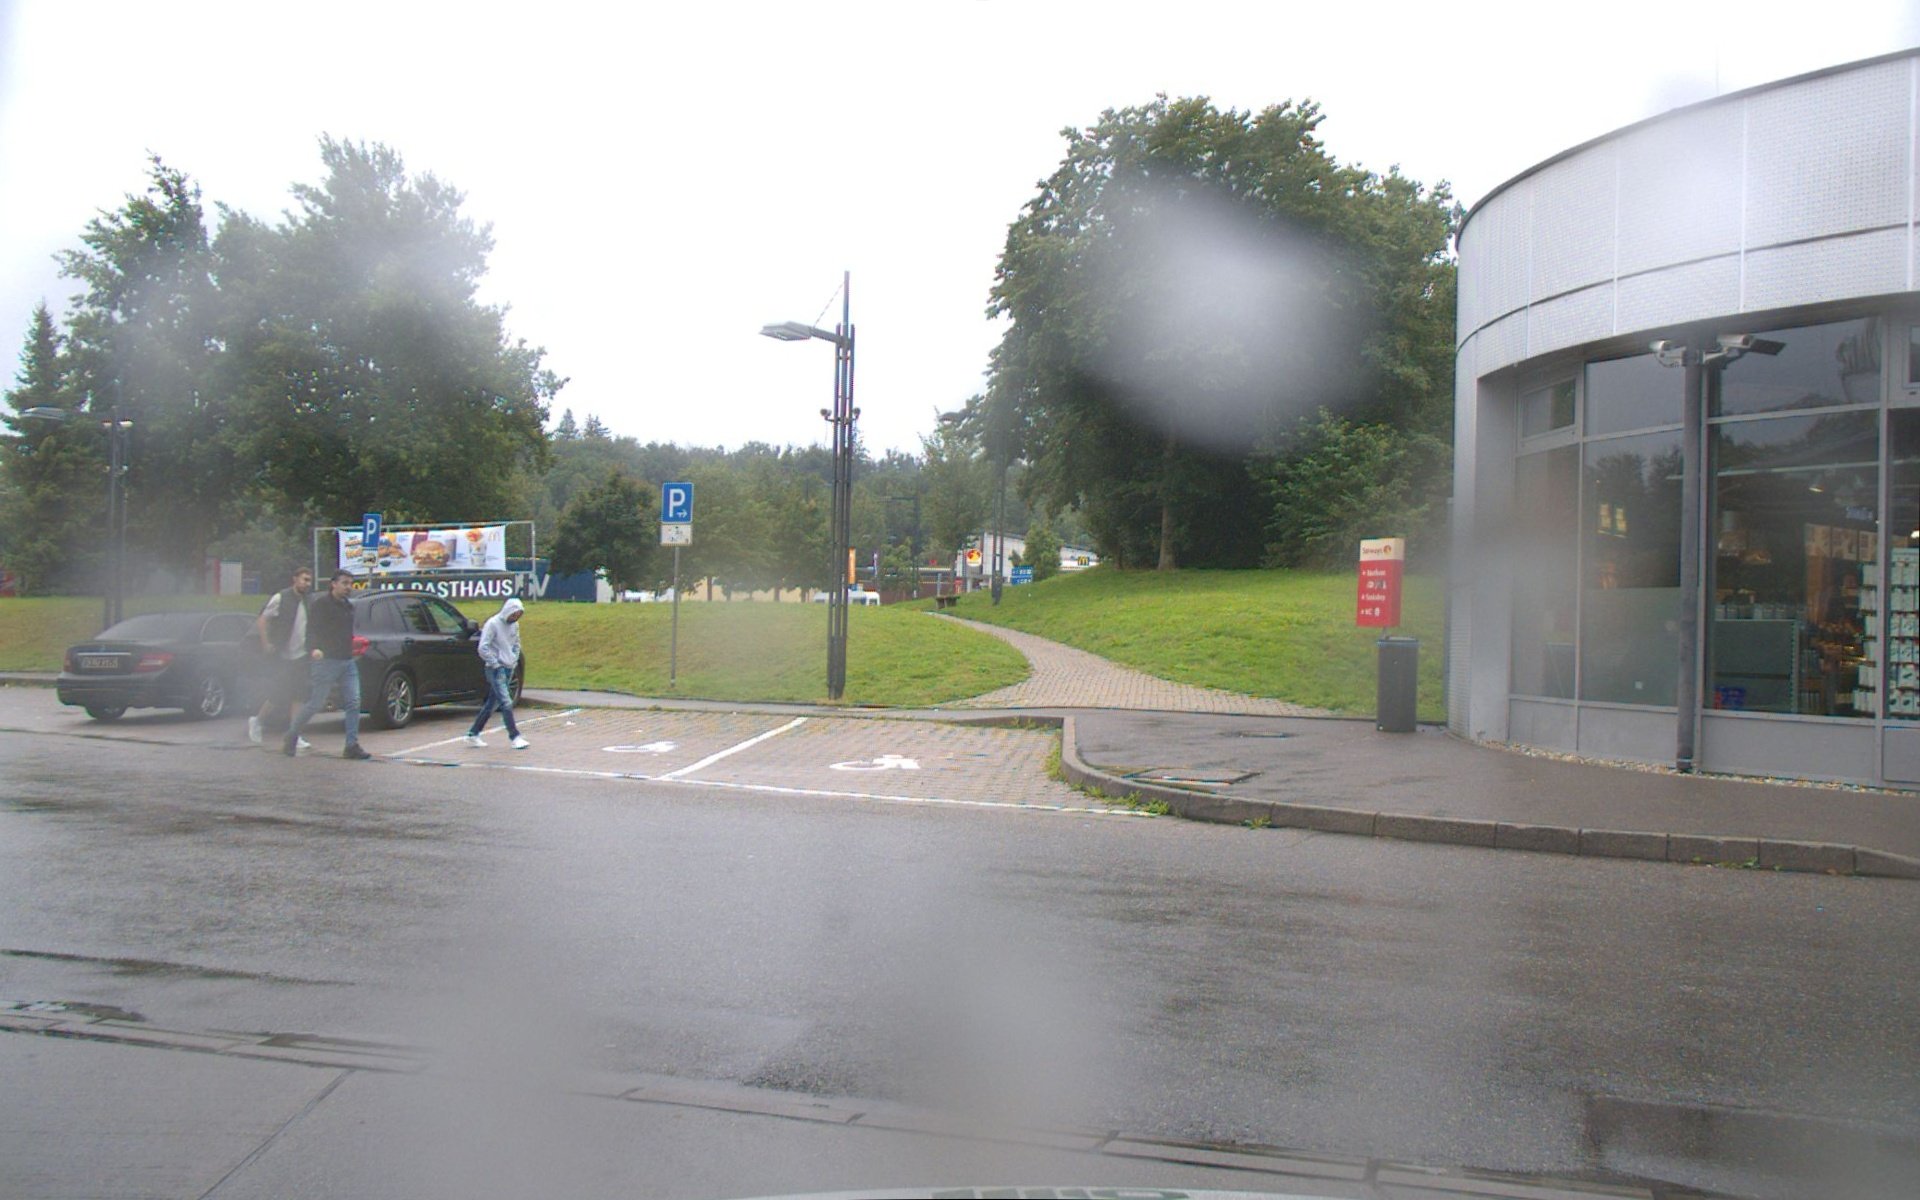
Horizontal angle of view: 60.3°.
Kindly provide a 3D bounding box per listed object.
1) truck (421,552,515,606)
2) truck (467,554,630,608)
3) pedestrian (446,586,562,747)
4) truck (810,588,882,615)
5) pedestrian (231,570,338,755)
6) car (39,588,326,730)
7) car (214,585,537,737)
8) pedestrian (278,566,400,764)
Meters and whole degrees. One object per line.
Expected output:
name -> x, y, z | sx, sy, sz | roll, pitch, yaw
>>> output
truck -> -27.978, -1.167, 94.259 | 2.142, 2.971, 5.384 | 1, 0, 24
truck -> -24.927, -1.084, 101.274 | 2.142, 2.971, 13.092 | 1, 0, 23
pedestrian -> -4.855, 0.692, 17.641 | 0.931, 1.660, 0.704 | 1, -1, 16
truck -> -9.229, 0.142, 133.671 | 5.298, 2.049, 2.366 | 1, 0, 24
pedestrian -> -7.264, 0.650, 17.783 | 0.937, 1.920, 0.700 | 0, -1, 42
car -> -10.572, 0.722, 22.894 | 1.976, 1.741, 4.342 | -1, 1, -2
car -> -7.364, 0.695, 21.376 | 1.973, 1.741, 4.347 | -1, 1, 11
pedestrian -> -6.207, 0.628, 16.544 | 0.872, 1.920, 0.704 | 1, -1, 23
